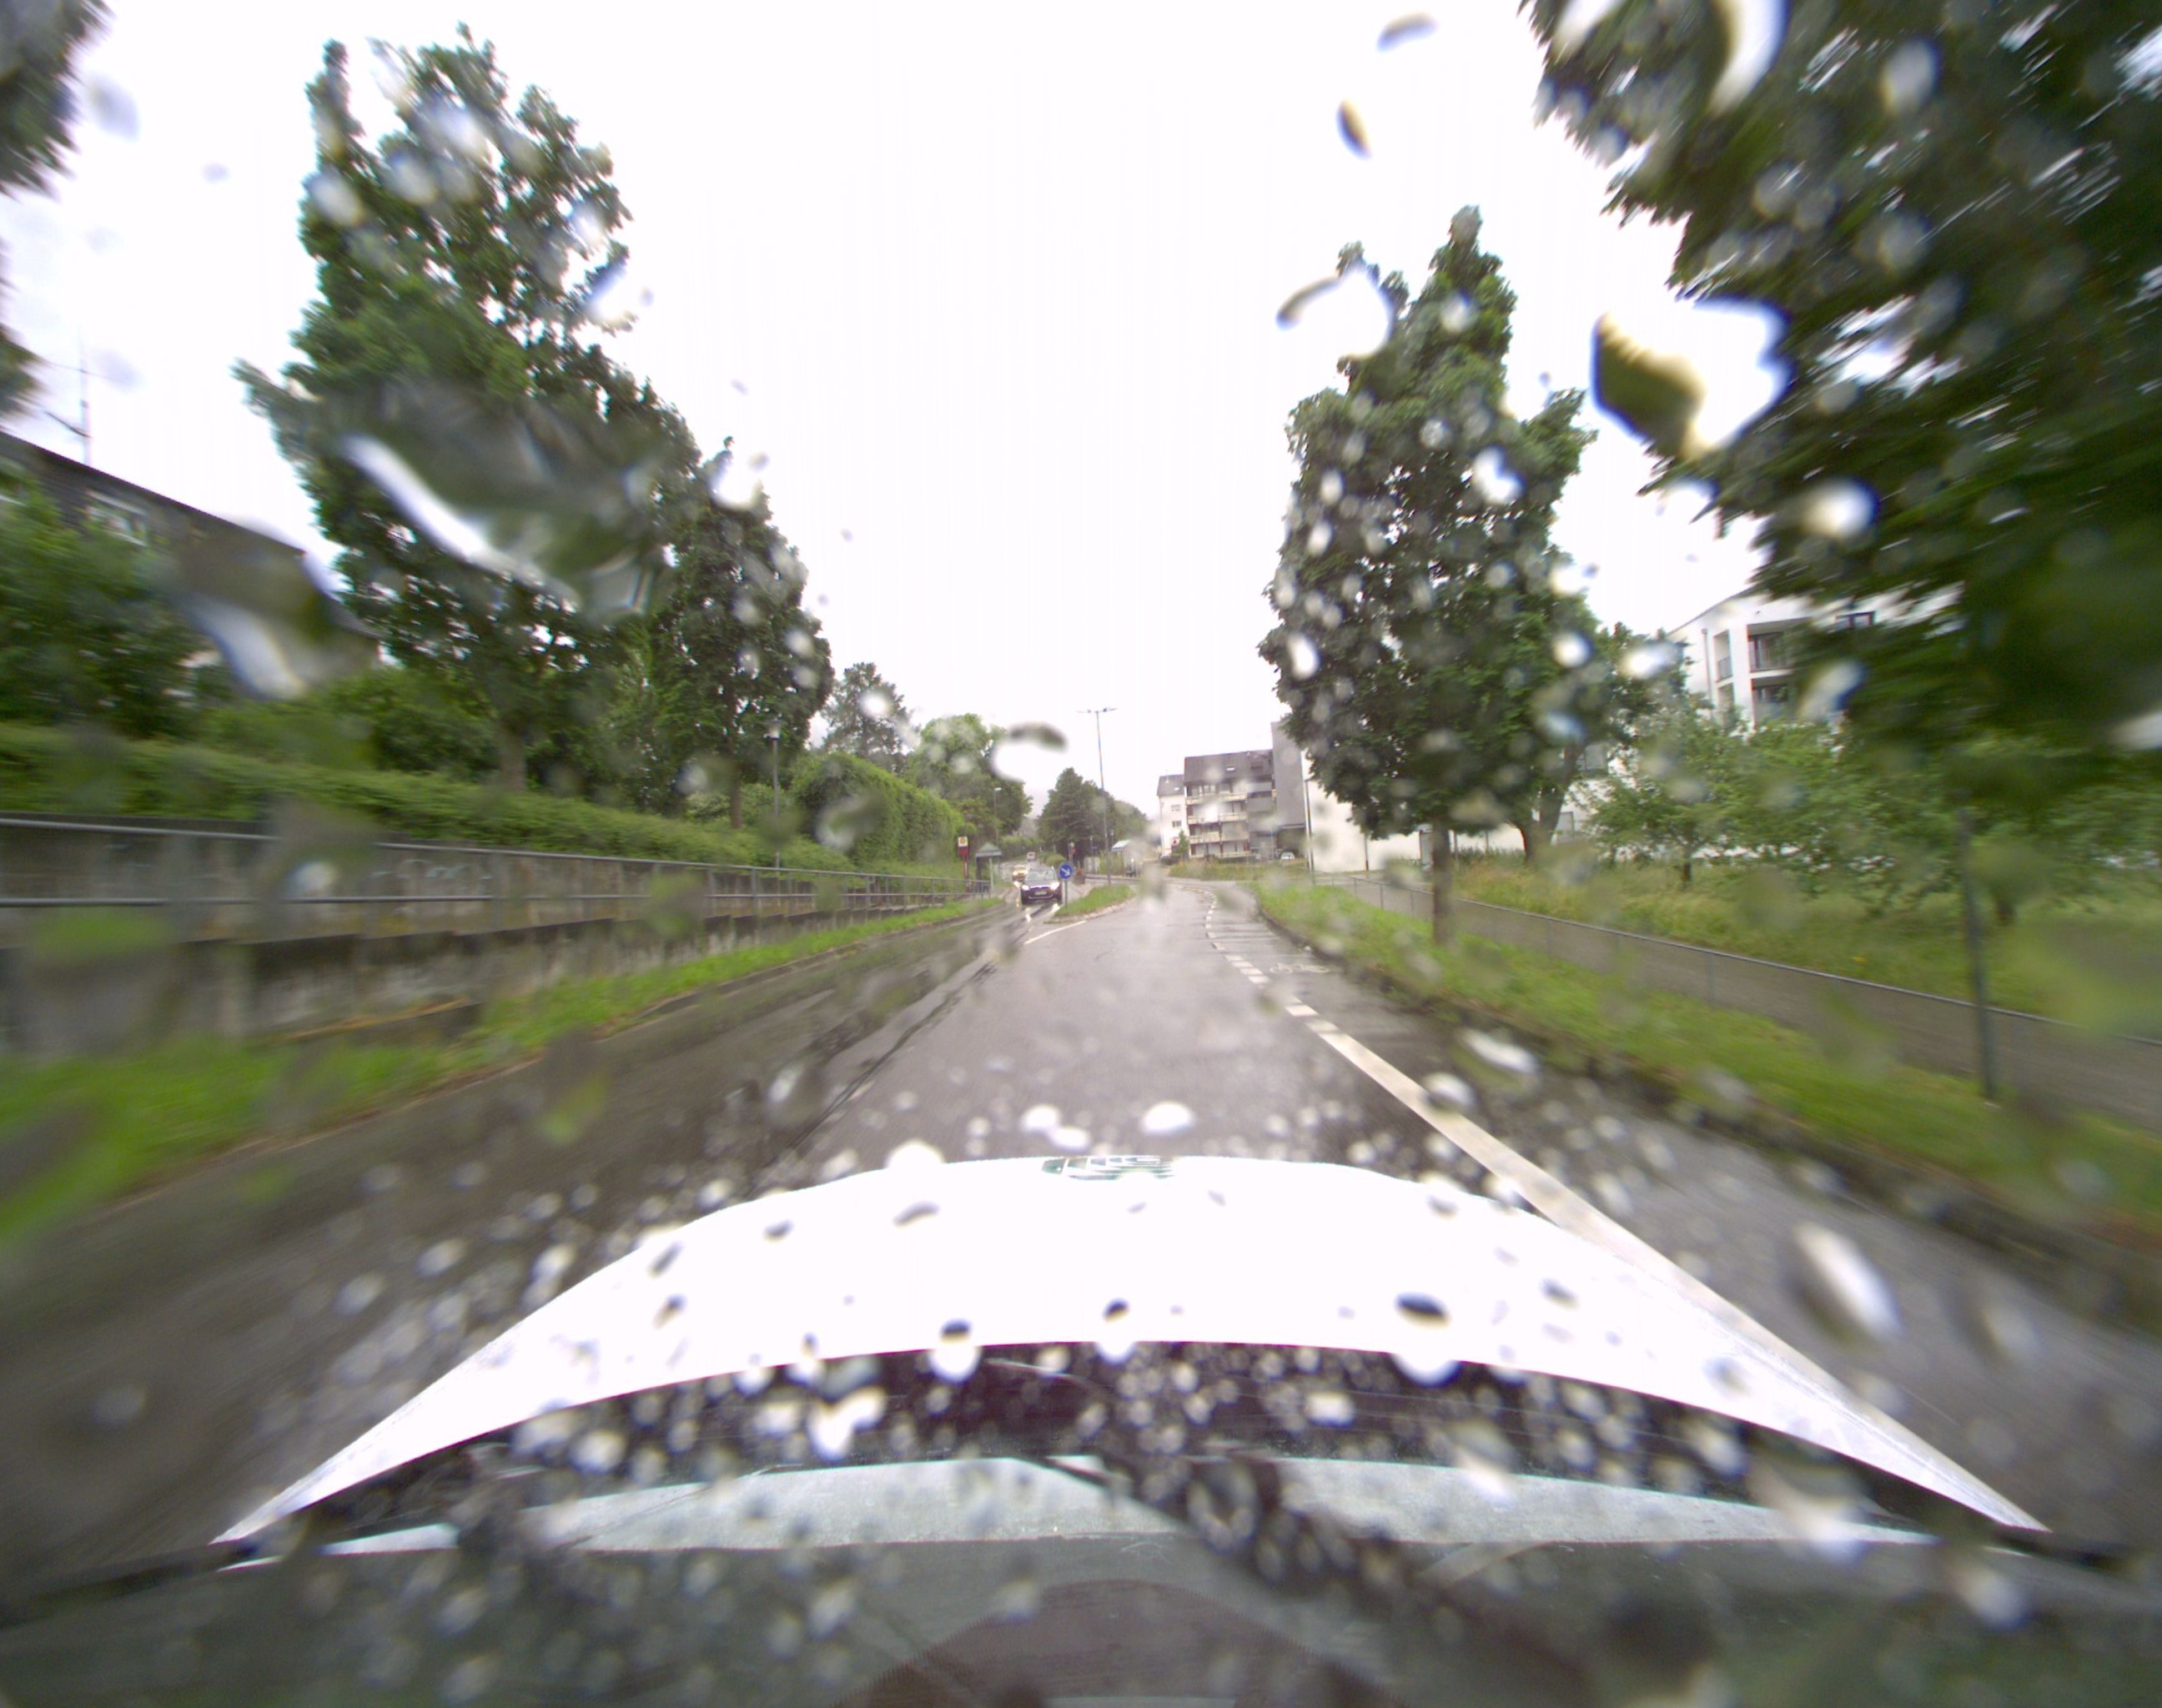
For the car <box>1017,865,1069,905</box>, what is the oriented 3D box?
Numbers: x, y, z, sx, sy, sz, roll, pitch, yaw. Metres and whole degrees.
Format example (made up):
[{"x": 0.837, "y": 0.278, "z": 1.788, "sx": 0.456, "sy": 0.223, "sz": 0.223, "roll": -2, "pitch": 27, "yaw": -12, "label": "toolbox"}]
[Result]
[{"x": -1.650, "y": 1.327, "z": 36.380, "sx": 1.753, "sy": 1.503, "sz": 4.145, "roll": -5, "pitch": -1, "yaw": 4, "label": "car"}]

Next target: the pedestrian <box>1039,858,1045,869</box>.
[{"x": -6.425, "y": 1.514, "z": 134.209, "sx": 0.919, "sy": 1.675, "sz": 1.055, "roll": -5, "pitch": 1, "yaw": -6, "label": "pedestrian"}]

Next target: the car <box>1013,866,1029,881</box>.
[{"x": -6.446, "y": 2.091, "z": 87.284, "sx": 1.570, "sy": 1.410, "sz": 3.468, "roll": -5, "pitch": 0, "yaw": -5, "label": "car"}]

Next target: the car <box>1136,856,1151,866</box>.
[{"x": 10.096, "y": 1.191, "z": 131.524, "sx": 1.686, "sy": 1.438, "sz": 3.604, "roll": -3, "pitch": 1, "yaw": -6, "label": "car"}]
